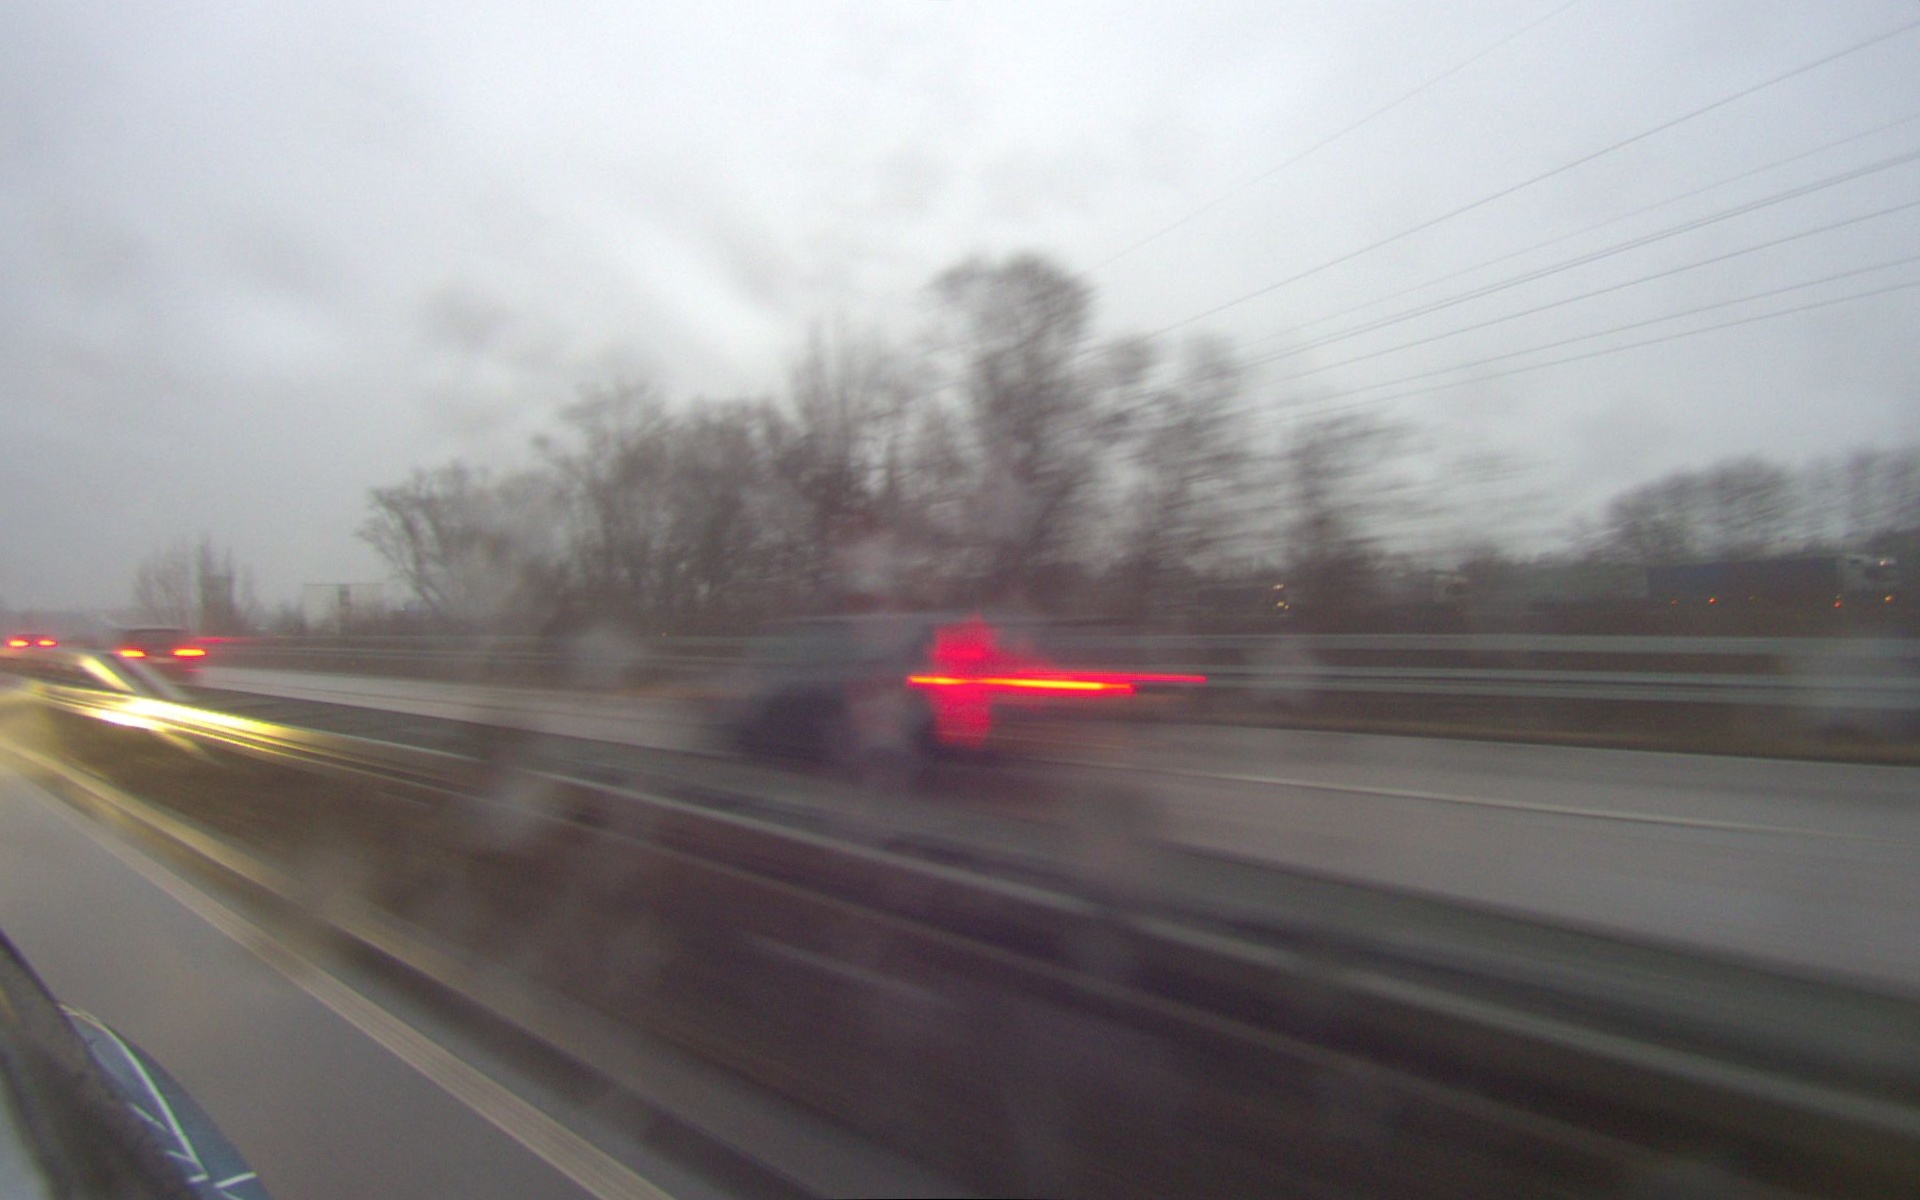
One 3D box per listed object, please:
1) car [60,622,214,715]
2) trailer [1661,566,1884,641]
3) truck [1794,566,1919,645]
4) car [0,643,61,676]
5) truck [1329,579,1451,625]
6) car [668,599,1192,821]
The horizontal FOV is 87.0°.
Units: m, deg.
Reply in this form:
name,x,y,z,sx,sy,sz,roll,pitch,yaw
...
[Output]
name,x,y,z,sx,sy,sz,roll,pitch,yaw
car,-21.026,1.639,25.771,4.993,2.028,1.974,-1,2,39
trailer,61.102,0.102,76.845,3.255,5.141,13.274,-2,2,-22
truck,63.794,0.255,70.276,3.229,5.168,8.548,-2,2,-23
car,-49.140,3.133,53.243,4.473,1.606,2.073,-4,-3,39
truck,46.855,0.086,111.042,3.229,4.644,13.922,-2,2,-23
car,-0.439,0.778,8.974,4.468,1.483,1.974,-1,-1,39
